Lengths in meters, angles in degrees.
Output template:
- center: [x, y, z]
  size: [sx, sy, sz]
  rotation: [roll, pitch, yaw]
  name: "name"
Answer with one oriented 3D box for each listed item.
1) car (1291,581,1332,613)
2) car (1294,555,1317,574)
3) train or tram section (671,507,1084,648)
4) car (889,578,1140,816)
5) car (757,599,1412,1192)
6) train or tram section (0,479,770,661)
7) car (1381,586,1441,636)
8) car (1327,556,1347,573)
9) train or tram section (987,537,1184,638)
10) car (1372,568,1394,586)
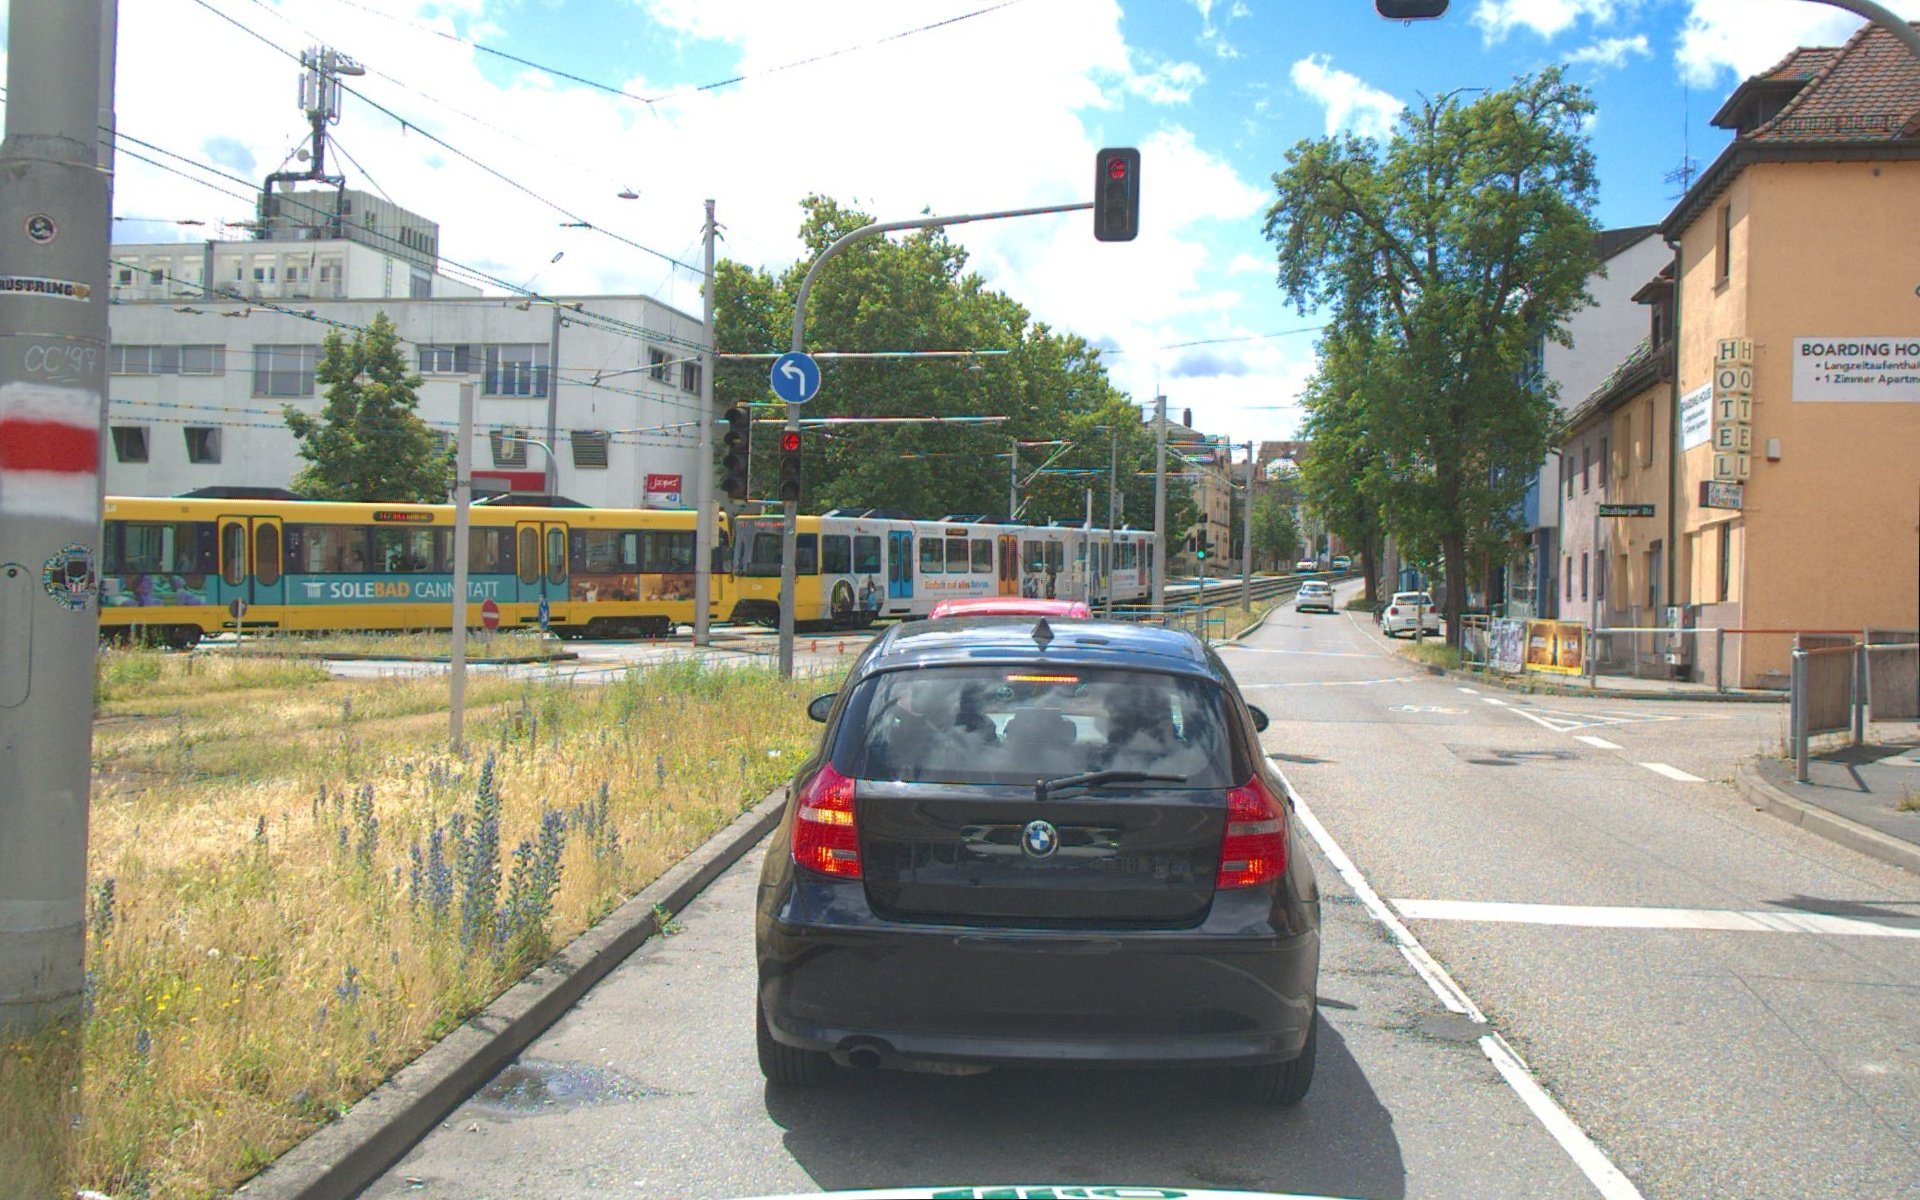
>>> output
- center: [17.127, -0.158, 80.699]
  size: [1.776, 1.494, 4.004]
  rotation: [0, 0, 9]
  name: "car"
- center: [39.387, -4.042, 188.408]
  size: [1.952, 2.049, 4.000]
  rotation: [-1, -1, 21]
  name: "car"
- center: [-1.800, -0.543, 56.390]
  size: [3.679, 3.947, 20.597]
  rotation: [-1, -1, 29]
  name: "train or tram section"
- center: [0.532, 0.639, 12.491]
  size: [1.590, 1.499, 4.002]
  rotation: [0, -1, 6]
  name: "car"
- center: [0.223, 0.762, 6.201]
  size: [1.667, 1.477, 3.997]
  rotation: [0, -1, -3]
  name: "car"
- center: [-14.385, -0.596, 42.245]
  size: [19.933, 3.896, 3.712]
  rotation: [0, -1, -37]
  name: "train or tram section"
- center: [15.260, 0.375, 56.081]
  size: [1.749, 1.624, 4.003]
  rotation: [0, -1, 12]
  name: "car"
- center: [47.386, -4.460, 207.836]
  size: [1.952, 2.049, 4.000]
  rotation: [-1, -1, 21]
  name: "car"
- center: [6.161, -0.388, 74.110]
  size: [3.671, 3.881, 20.055]
  rotation: [-1, -1, 20]
  name: "train or tram section"
- center: [39.009, -2.113, 152.592]
  size: [1.777, 1.494, 4.003]
  rotation: [3, 1, 13]
  name: "car"
